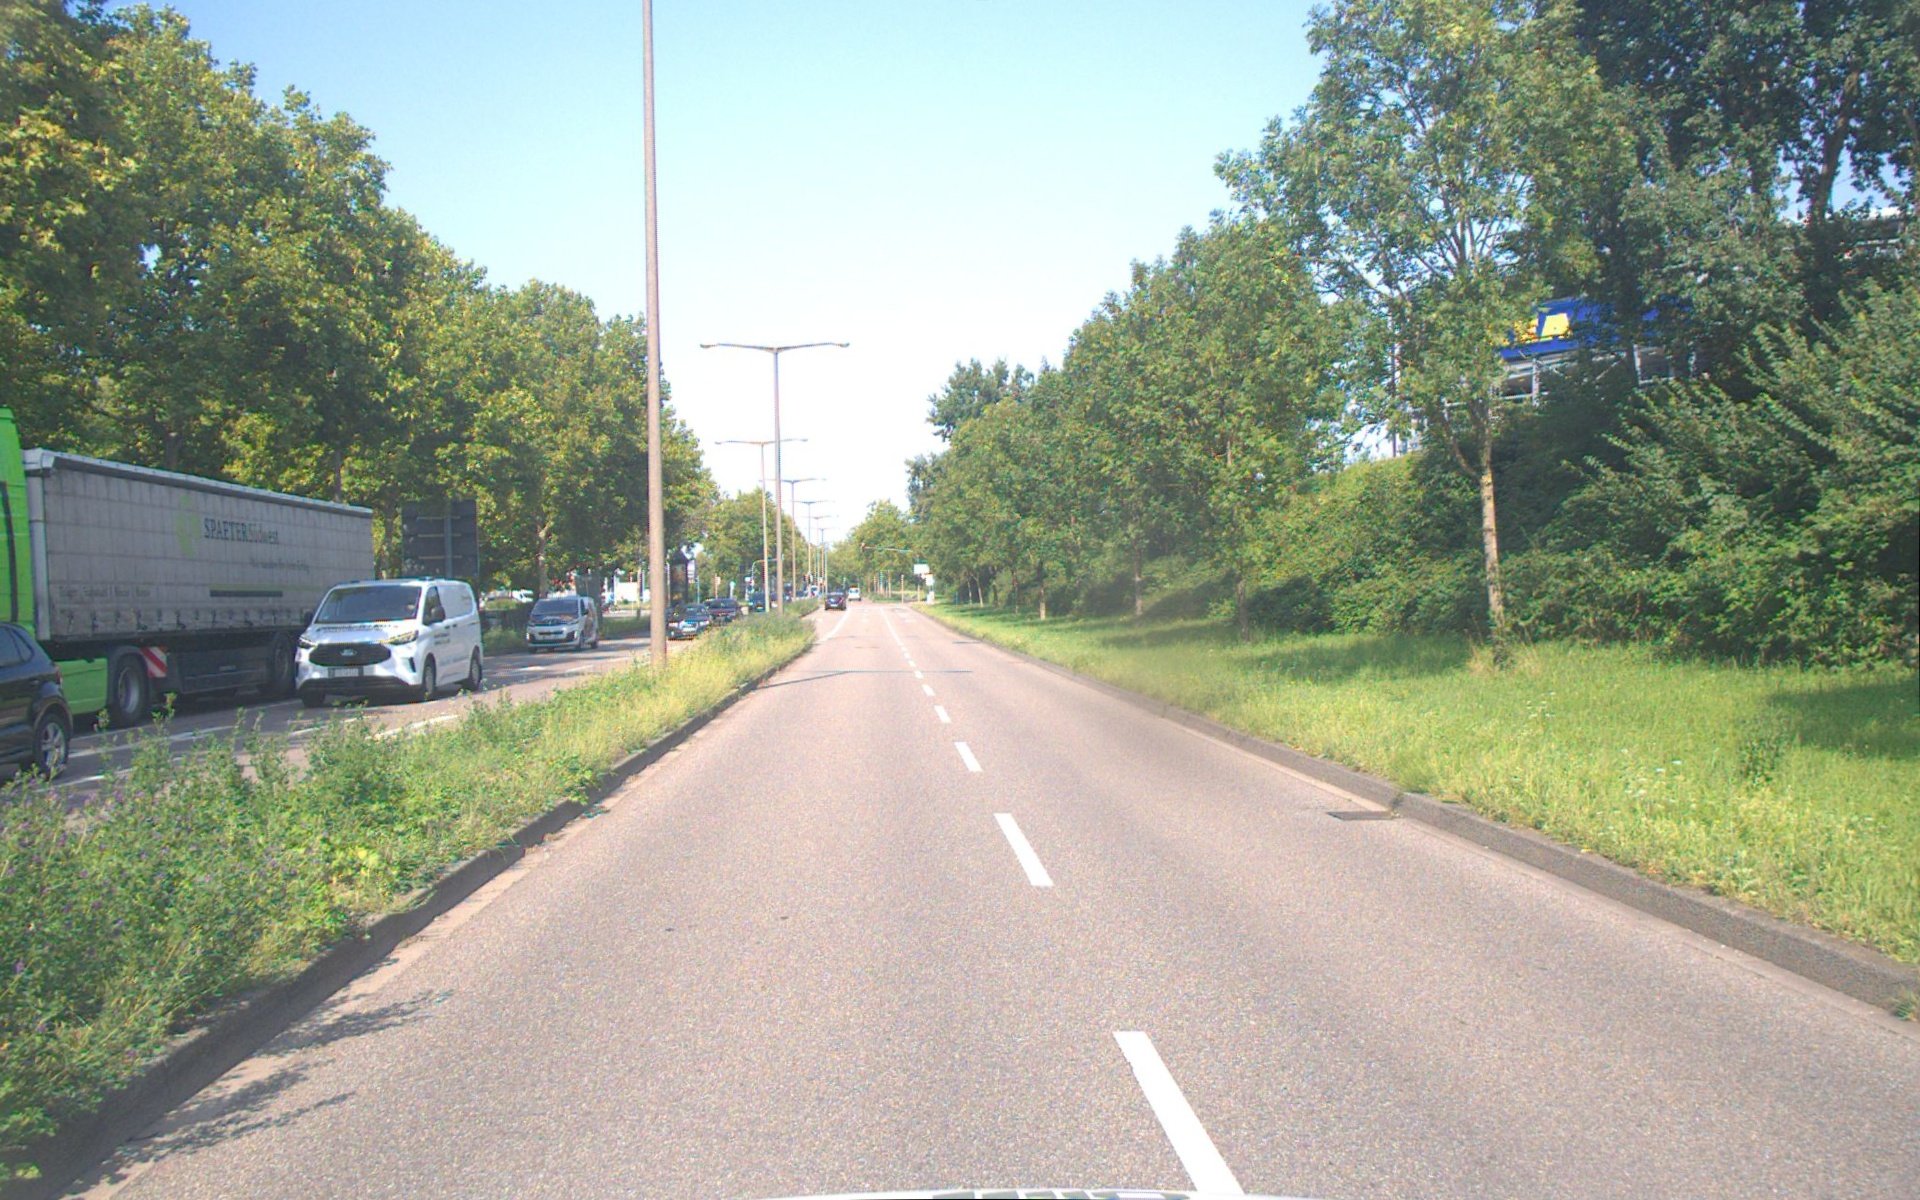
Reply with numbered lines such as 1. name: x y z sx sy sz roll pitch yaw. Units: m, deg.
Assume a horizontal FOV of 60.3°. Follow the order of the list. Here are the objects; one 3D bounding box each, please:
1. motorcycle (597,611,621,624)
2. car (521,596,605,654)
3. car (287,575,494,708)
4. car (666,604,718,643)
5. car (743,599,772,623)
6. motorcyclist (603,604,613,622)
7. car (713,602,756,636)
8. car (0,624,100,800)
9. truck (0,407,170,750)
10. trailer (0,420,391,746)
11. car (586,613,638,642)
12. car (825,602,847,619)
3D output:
1. motorcycle: -32.061 1.599 151.247 2.056 1.156 0.668 -1 -1 -39
2. car: -14.066 0.859 58.922 1.945 1.891 4.966 -3 0 -3
3. car: -9.347 0.625 27.609 1.954 1.988 5.032 -1 0 -3
4. car: -11.173 0.971 69.158 1.712 1.505 4.582 -3 0 -5
5. car: -16.417 0.886 134.502 1.954 1.790 4.474 -3 0 -3
6. motorcyclist: -32.197 1.185 151.166 0.677 1.599 0.674 0 -1 -39
7. car: -12.175 1.006 89.529 1.915 1.754 4.584 -1 0 -3
8. car: -8.679 0.968 13.278 1.582 1.423 3.856 -3 0 -2
9. truck: -12.203 -0.190 20.013 2.556 3.886 5.887 -3 0 -3
10. trailer: -12.594 -0.131 26.744 2.581 3.888 13.802 -3 0 -3
11. car: -17.083 1.339 81.392 1.754 1.285 4.094 -3 0 -1
12. car: -11.031 0.913 147.069 1.657 1.512 4.000 -1 0 0
